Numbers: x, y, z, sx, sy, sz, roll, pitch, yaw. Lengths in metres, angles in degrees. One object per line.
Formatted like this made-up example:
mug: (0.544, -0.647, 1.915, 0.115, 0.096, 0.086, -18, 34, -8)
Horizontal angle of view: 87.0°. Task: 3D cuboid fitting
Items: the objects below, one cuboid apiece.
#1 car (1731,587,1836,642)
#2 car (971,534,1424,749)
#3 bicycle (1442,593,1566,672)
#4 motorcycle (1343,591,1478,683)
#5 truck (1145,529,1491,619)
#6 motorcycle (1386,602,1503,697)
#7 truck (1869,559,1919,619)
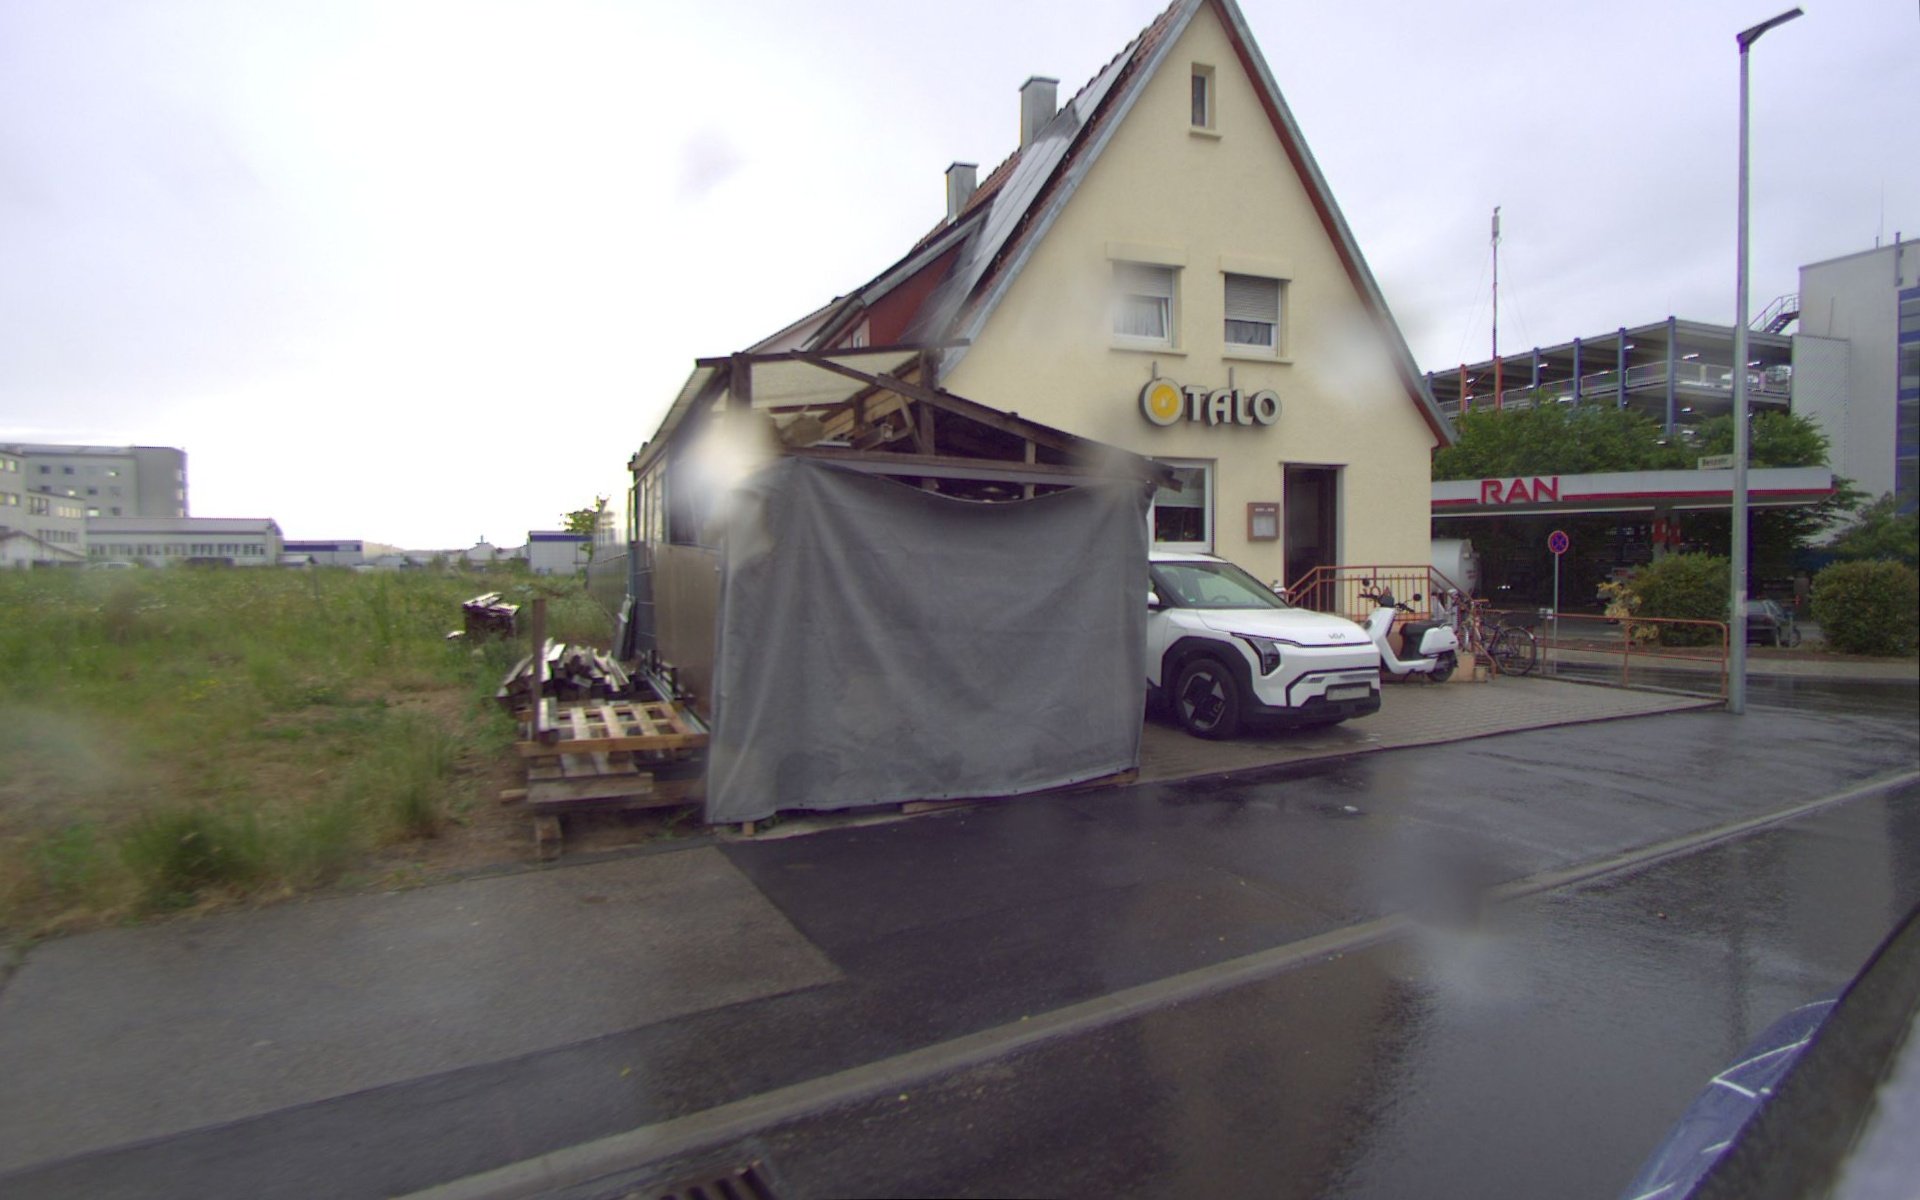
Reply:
car: (23.067, 0.347, 28.304, 4.267, 1.356, 1.691, -1, 2, -43)
car: (2.067, 0.184, 10.016, 1.825, 1.629, 4.233, -1, 4, -34)
bicycle: (8.148, 0.454, 15.236, 0.479, 1.109, 1.780, 1, 0, -19)
motorcycle: (5.753, 0.449, 12.883, 1.960, 1.110, 0.490, 0, 0, -29)
truck: (14.967, -1.020, 44.158, 14.356, 3.402, 2.607, 1, -1, 42)
motorcycle: (8.206, 0.791, 17.241, 0.479, 1.474, 2.044, -1, 1, -20)
truck: (39.099, -0.265, 37.825, 2.047, 2.234, 7.297, 2, 1, -38)
